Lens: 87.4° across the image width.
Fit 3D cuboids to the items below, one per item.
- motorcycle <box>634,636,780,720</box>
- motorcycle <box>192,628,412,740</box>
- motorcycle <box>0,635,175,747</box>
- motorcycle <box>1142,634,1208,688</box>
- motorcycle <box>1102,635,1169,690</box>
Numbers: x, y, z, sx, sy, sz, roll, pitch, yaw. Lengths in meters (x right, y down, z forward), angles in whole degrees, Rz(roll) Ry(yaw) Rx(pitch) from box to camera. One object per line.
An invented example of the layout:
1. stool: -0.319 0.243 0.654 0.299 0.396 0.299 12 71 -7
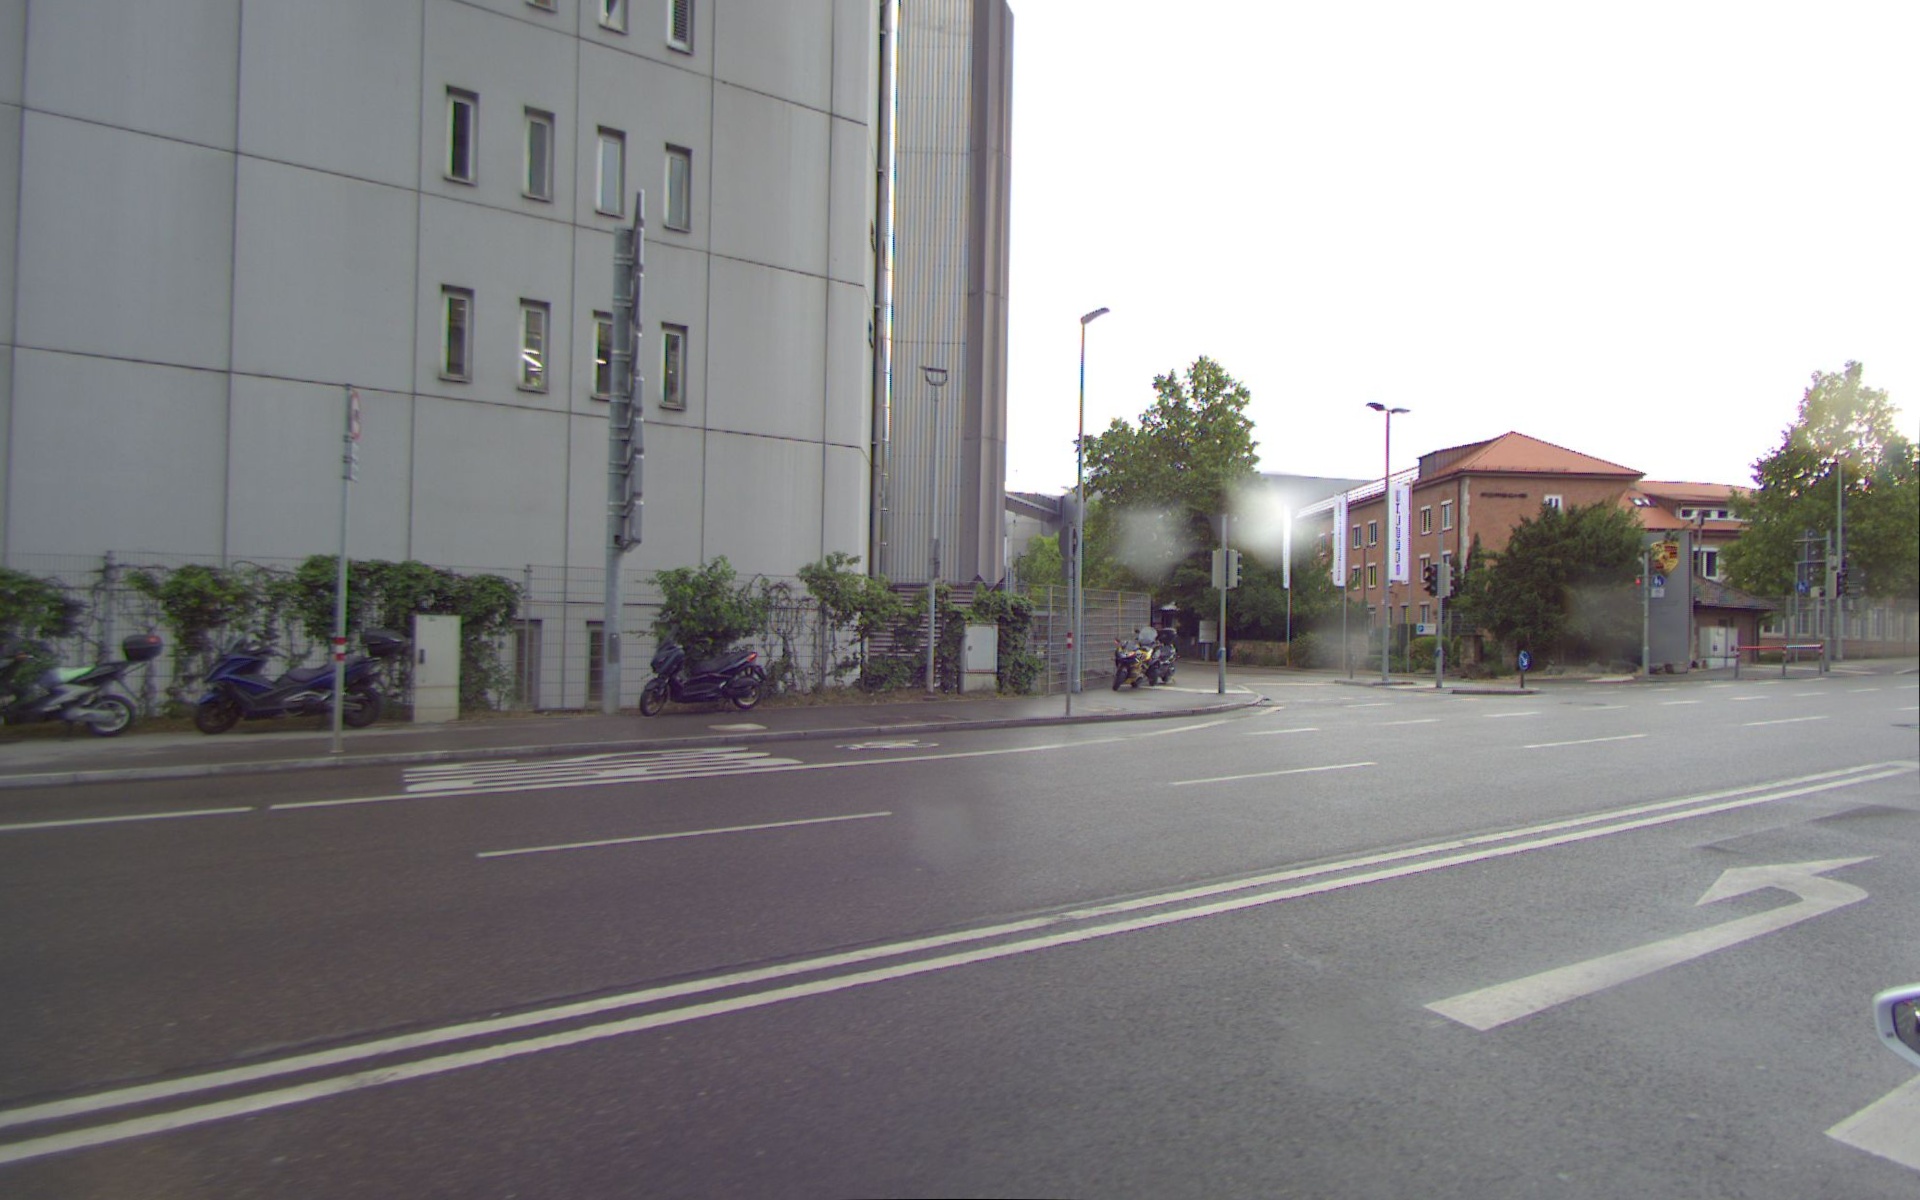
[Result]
1. motorcycle: -4.047 1.222 16.127 2.133 1.263 0.781 1 -2 -31
2. motorcycle: -8.583 1.058 13.237 2.343 1.365 0.781 1 -2 -31
3. motorcycle: -10.816 1.063 12.021 2.133 1.267 0.781 1 -2 -31
4. motorcycle: 5.763 1.593 26.776 1.008 1.355 2.771 -1 -2 28
5. motorcycle: 4.293 1.477 24.351 0.759 1.234 2.504 0 -2 31
